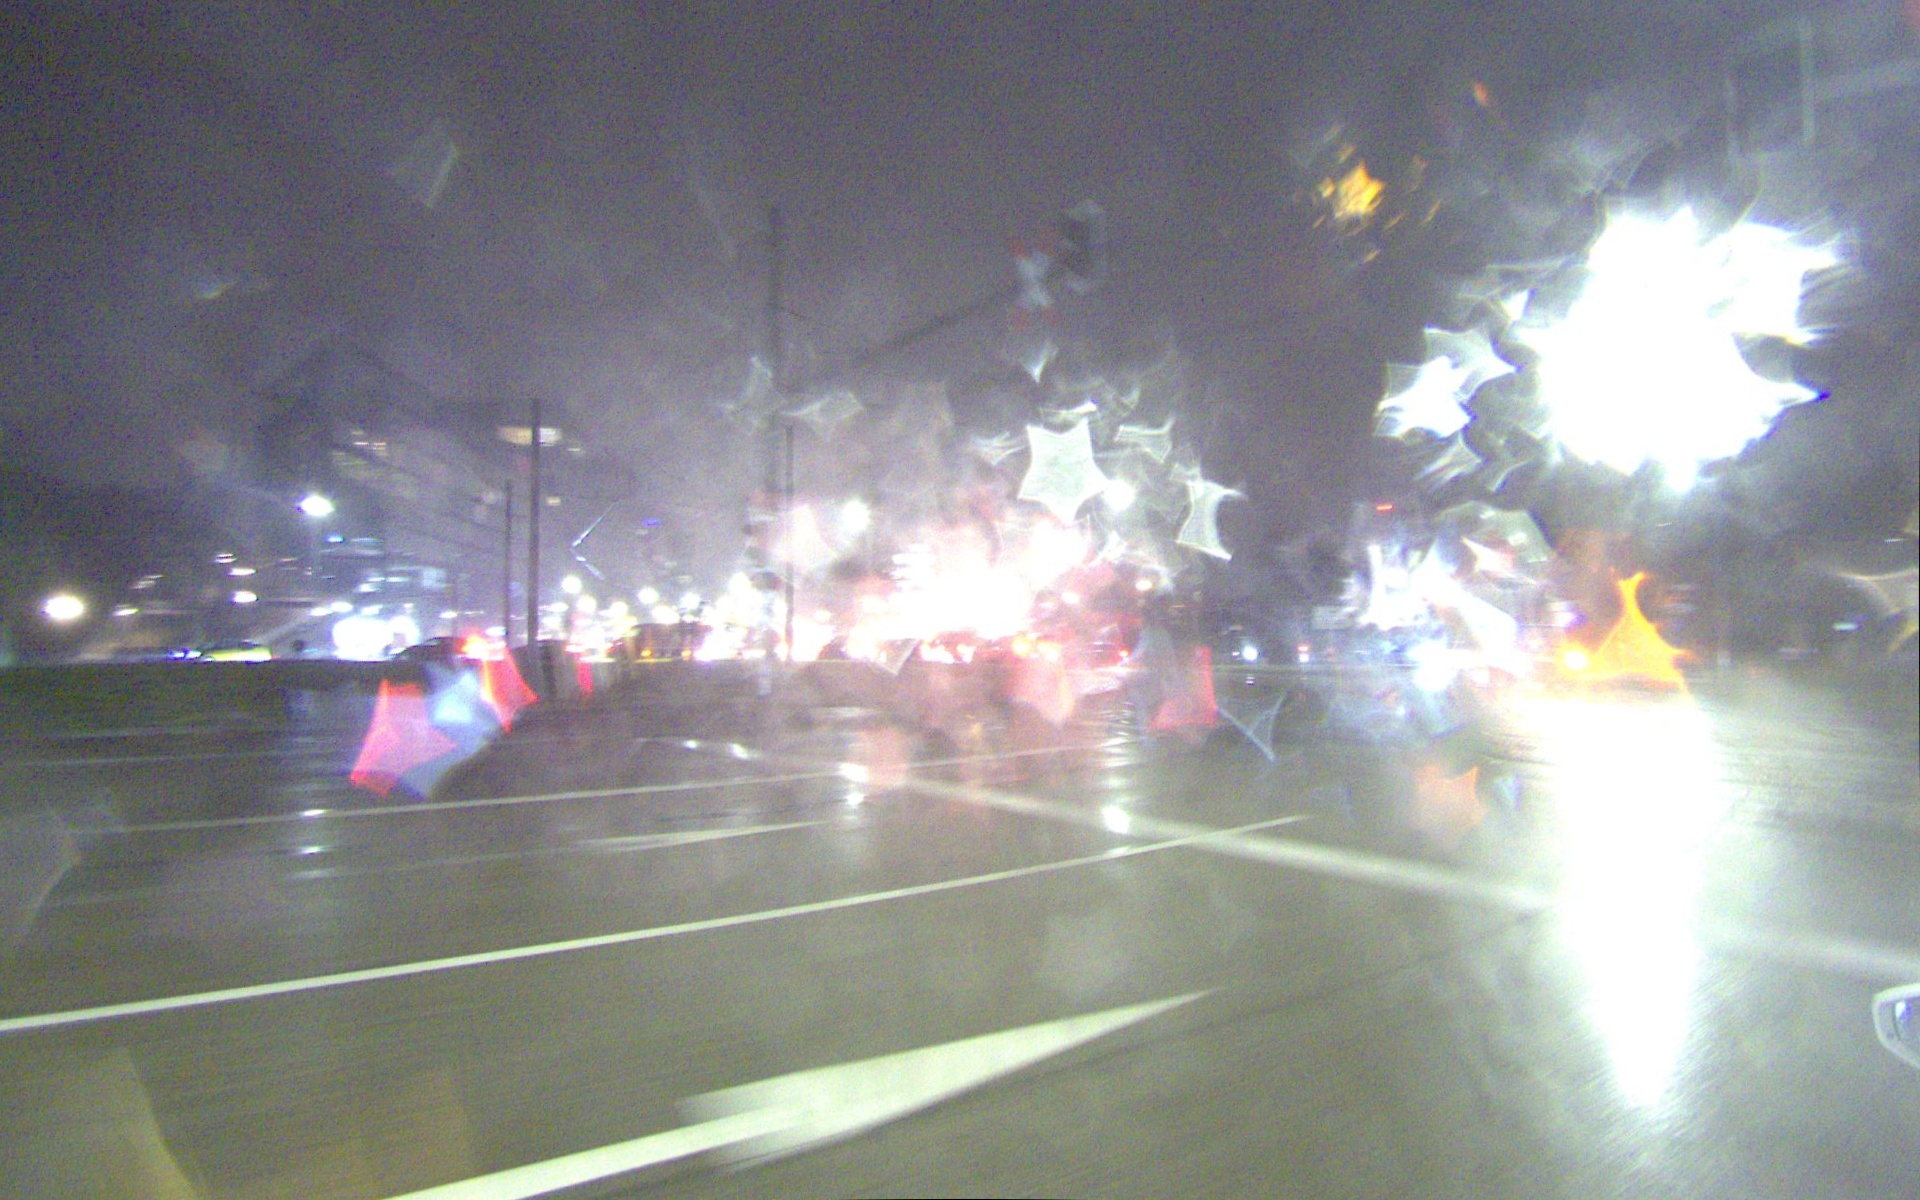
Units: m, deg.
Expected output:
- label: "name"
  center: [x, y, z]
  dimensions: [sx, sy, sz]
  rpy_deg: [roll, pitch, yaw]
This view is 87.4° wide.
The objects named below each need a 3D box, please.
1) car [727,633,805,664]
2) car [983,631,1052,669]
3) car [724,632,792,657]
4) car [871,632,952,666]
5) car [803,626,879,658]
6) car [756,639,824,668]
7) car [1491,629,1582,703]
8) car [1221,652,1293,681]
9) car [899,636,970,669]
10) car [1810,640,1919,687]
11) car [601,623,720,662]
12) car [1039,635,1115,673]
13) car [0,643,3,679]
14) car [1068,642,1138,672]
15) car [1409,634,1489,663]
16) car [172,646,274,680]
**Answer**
- label: "car"
  center: [-11.038, 2.715, 57.126]
  dimensions: [3.921, 1.637, 1.837]
  rpy_deg: [1, -1, 19]
- label: "car"
  center: [2.567, 2.251, 45.910]
  dimensions: [1.711, 1.599, 3.947]
  rpy_deg: [2, -1, -20]
- label: "car"
  center: [-12.771, 2.794, 63.434]
  dimensions: [3.925, 1.505, 1.768]
  rpy_deg: [1, -1, 25]
- label: "car"
  center: [-2.503, 2.477, 51.353]
  dimensions: [3.903, 1.599, 1.869]
  rpy_deg: [0, -2, 39]
- label: "car"
  center: [-6.455, 2.266, 54.364]
  dimensions: [3.898, 1.599, 1.732]
  rpy_deg: [0, -1, 34]
- label: "car"
  center: [-10.117, 3.176, 59.809]
  dimensions: [3.559, 1.599, 1.736]
  rpy_deg: [1, -1, 24]
- label: "car"
  center: [17.678, 1.955, 31.005]
  dimensions: [1.962, 2.040, 4.555]
  rpy_deg: [1, -1, 24]
- label: "car"
  center: [18.097, 4.032, 61.271]
  dimensions: [3.822, 1.661, 1.860]
  rpy_deg: [1, -1, -11]
- label: "car"
  center: [-1.367, 2.796, 54.020]
  dimensions: [3.575, 1.599, 1.729]
  rpy_deg: [0, -2, 41]
- label: "car"
  center: [37.006, 2.522, 40.362]
  dimensions: [1.889, 1.706, 3.983]
  rpy_deg: [2, -1, -19]
- label: "car"
  center: [-17.530, 2.450, 58.928]
  dimensions: [6.185, 2.117, 2.517]
  rpy_deg: [1, -1, 9]
- label: "car"
  center: [5.393, 2.481, 46.738]
  dimensions: [1.717, 1.599, 3.599]
  rpy_deg: [2, -1, -30]
- label: "car"
  center: [-46.207, 2.784, 45.418]
  dimensions: [1.738, 1.639, 3.874]
  rpy_deg: [1, -1, 19]
- label: "car"
  center: [8.331, 3.335, 58.796]
  dimensions: [3.919, 1.604, 1.597]
  rpy_deg: [1, -1, 5]
- label: "car"
  center: [31.885, 3.149, 65.507]
  dimensions: [4.545, 1.759, 1.993]
  rpy_deg: [2, -1, -17]
- label: "car"
  center: [-38.206, 3.241, 52.180]
  dimensions: [1.740, 1.639, 3.869]
  rpy_deg: [1, -1, 26]
